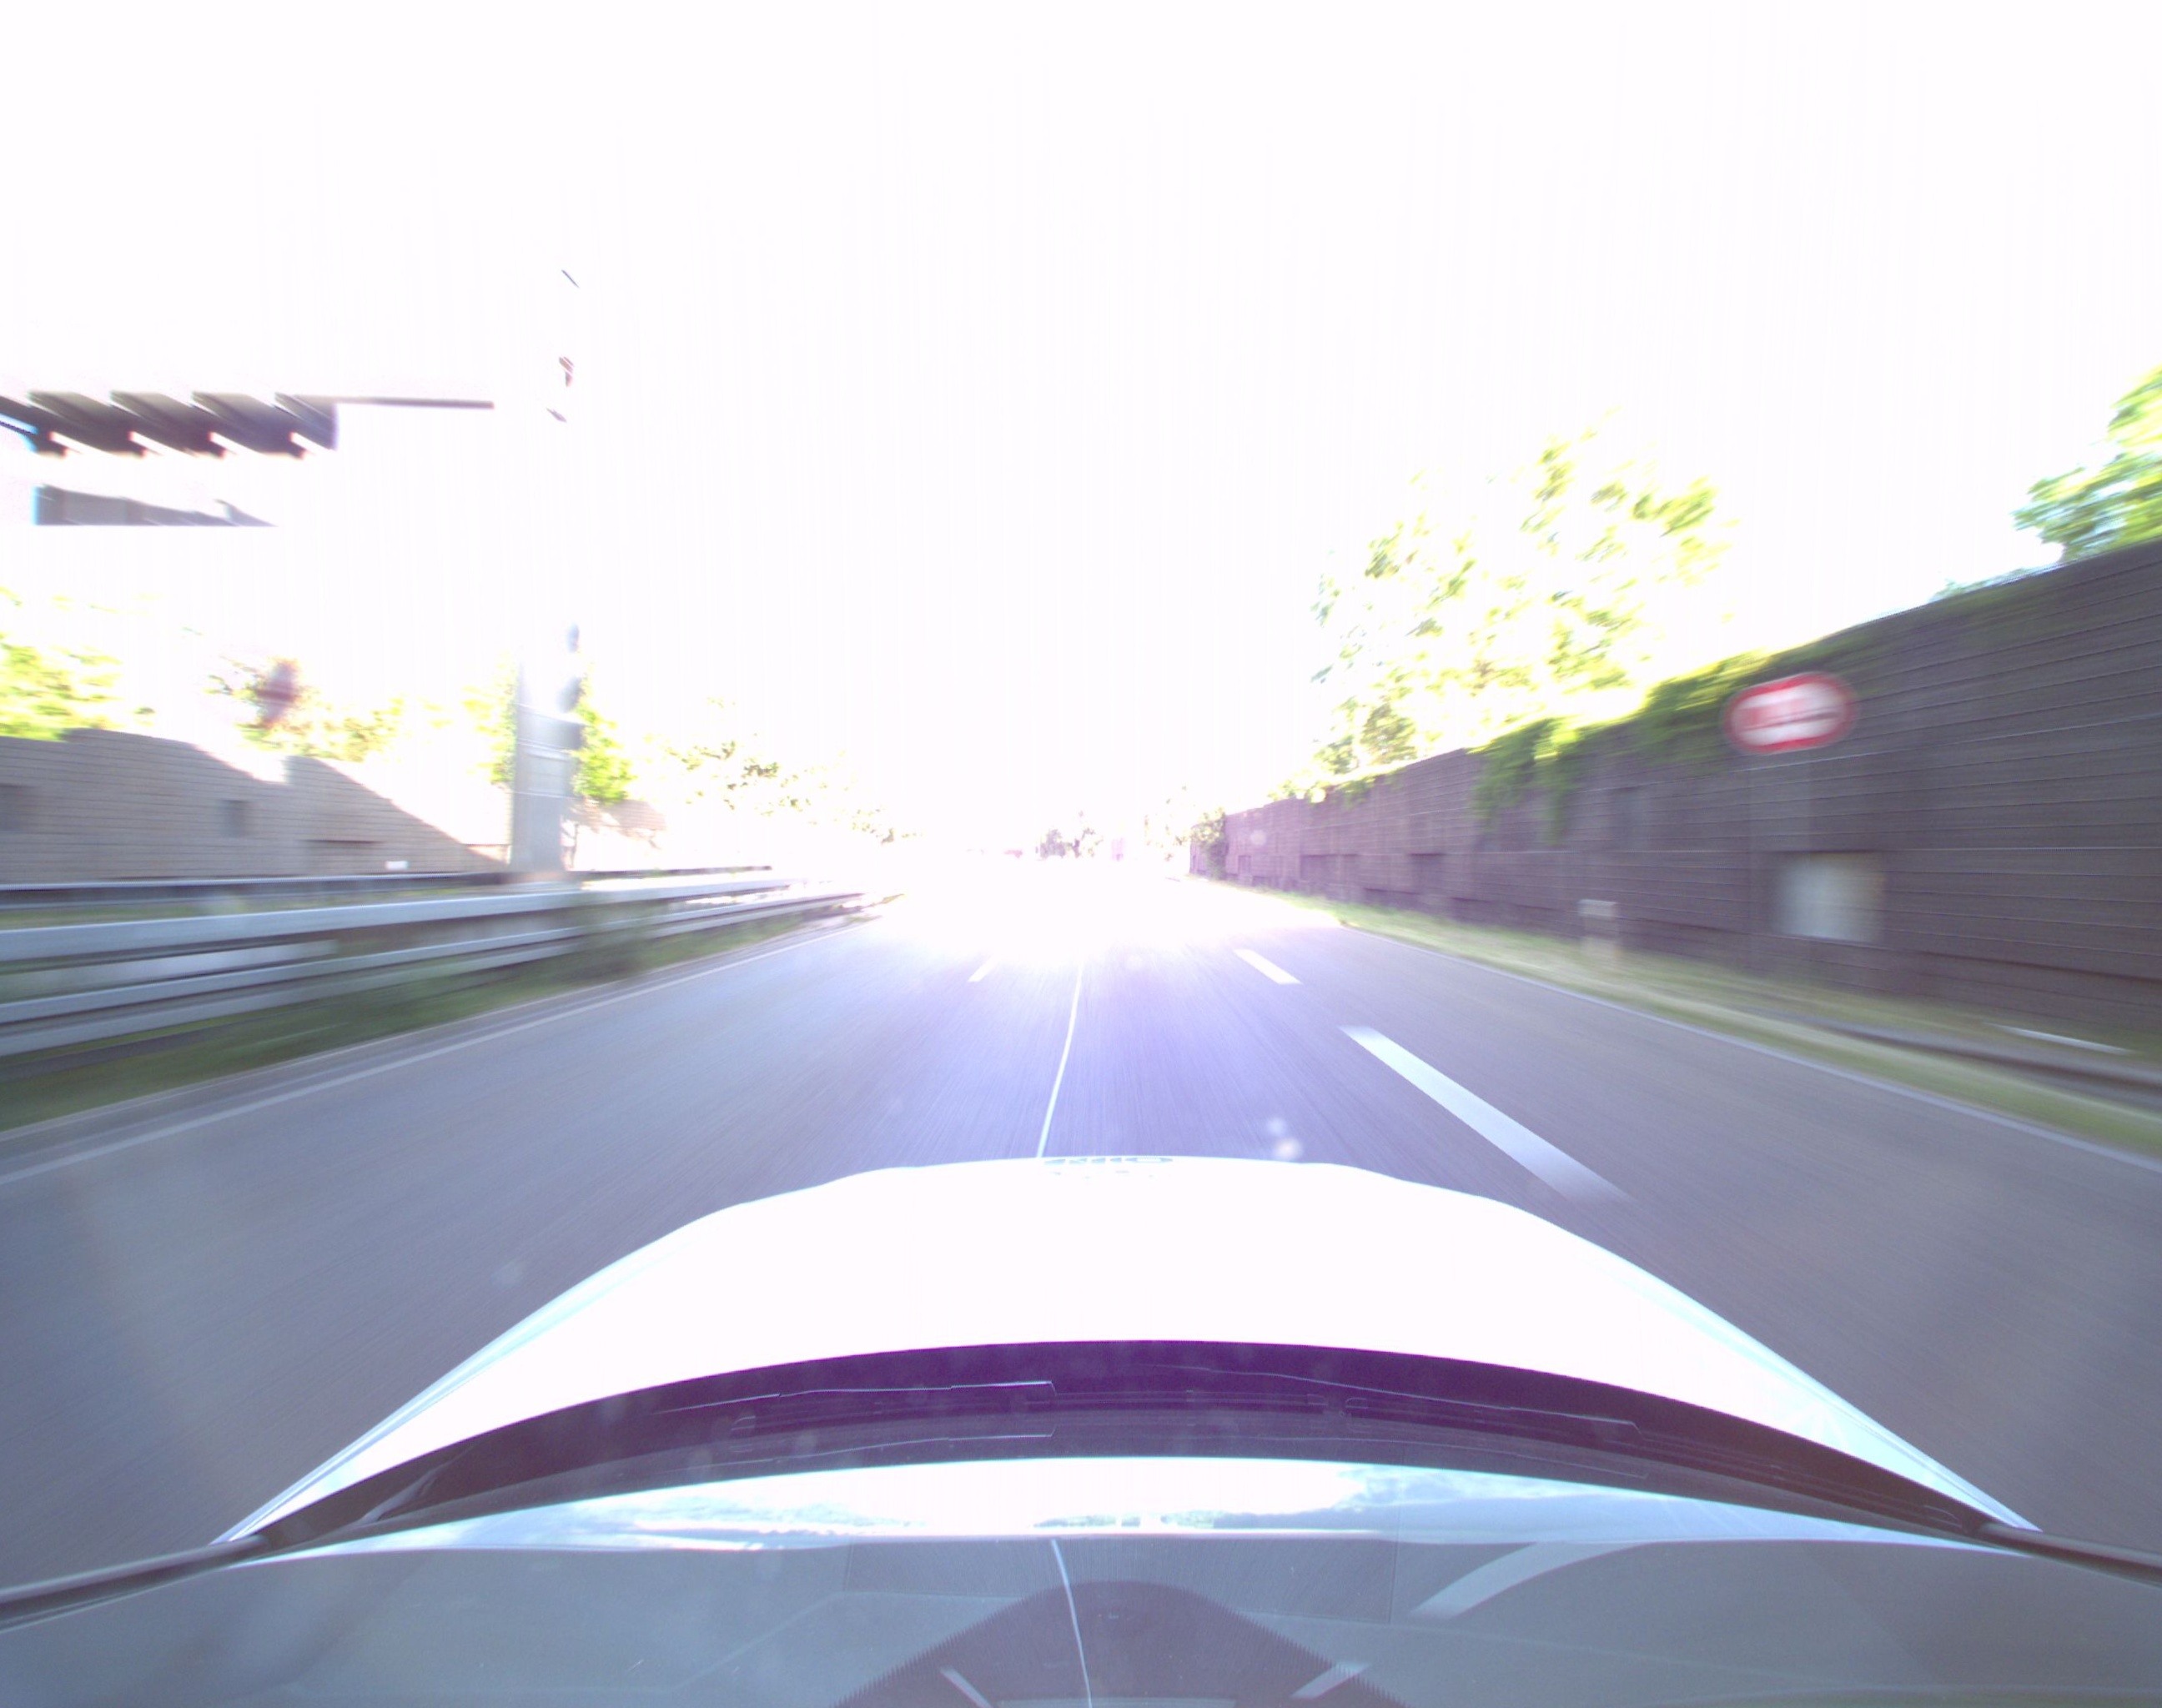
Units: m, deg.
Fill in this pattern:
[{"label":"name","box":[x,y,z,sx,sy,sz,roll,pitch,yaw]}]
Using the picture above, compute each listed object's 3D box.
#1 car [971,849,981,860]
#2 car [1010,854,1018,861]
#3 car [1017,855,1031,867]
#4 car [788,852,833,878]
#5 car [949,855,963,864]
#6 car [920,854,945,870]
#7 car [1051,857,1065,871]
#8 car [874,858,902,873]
[{"label":"car","box":[-27.118,0.091,210.398,2.117,2.683,6.579,2,0,-4]},{"label":"car","box":[-20.920,1.070,253.902,1.993,1.925,3.988,1,0,-9]},{"label":"car","box":[-9.710,1.158,138.827,1.987,1.925,3.999,1,0,0]},{"label":"car","box":[-17.727,0.681,53.546,1.541,1.574,4.393,2,0,-1]},{"label":"car","box":[-23.326,0.985,152.107,1.990,1.480,4.528,2,0,-4]},{"label":"car","box":[-16.280,0.884,89.470,1.892,1.574,4.805,2,0,-1]},{"label":"car","box":[-3.399,1.474,120.137,1.987,1.925,3.999,1,0,0]},{"label":"car","box":[-19.665,1.187,83.234,1.892,1.421,4.133,-1,0,-1]}]
